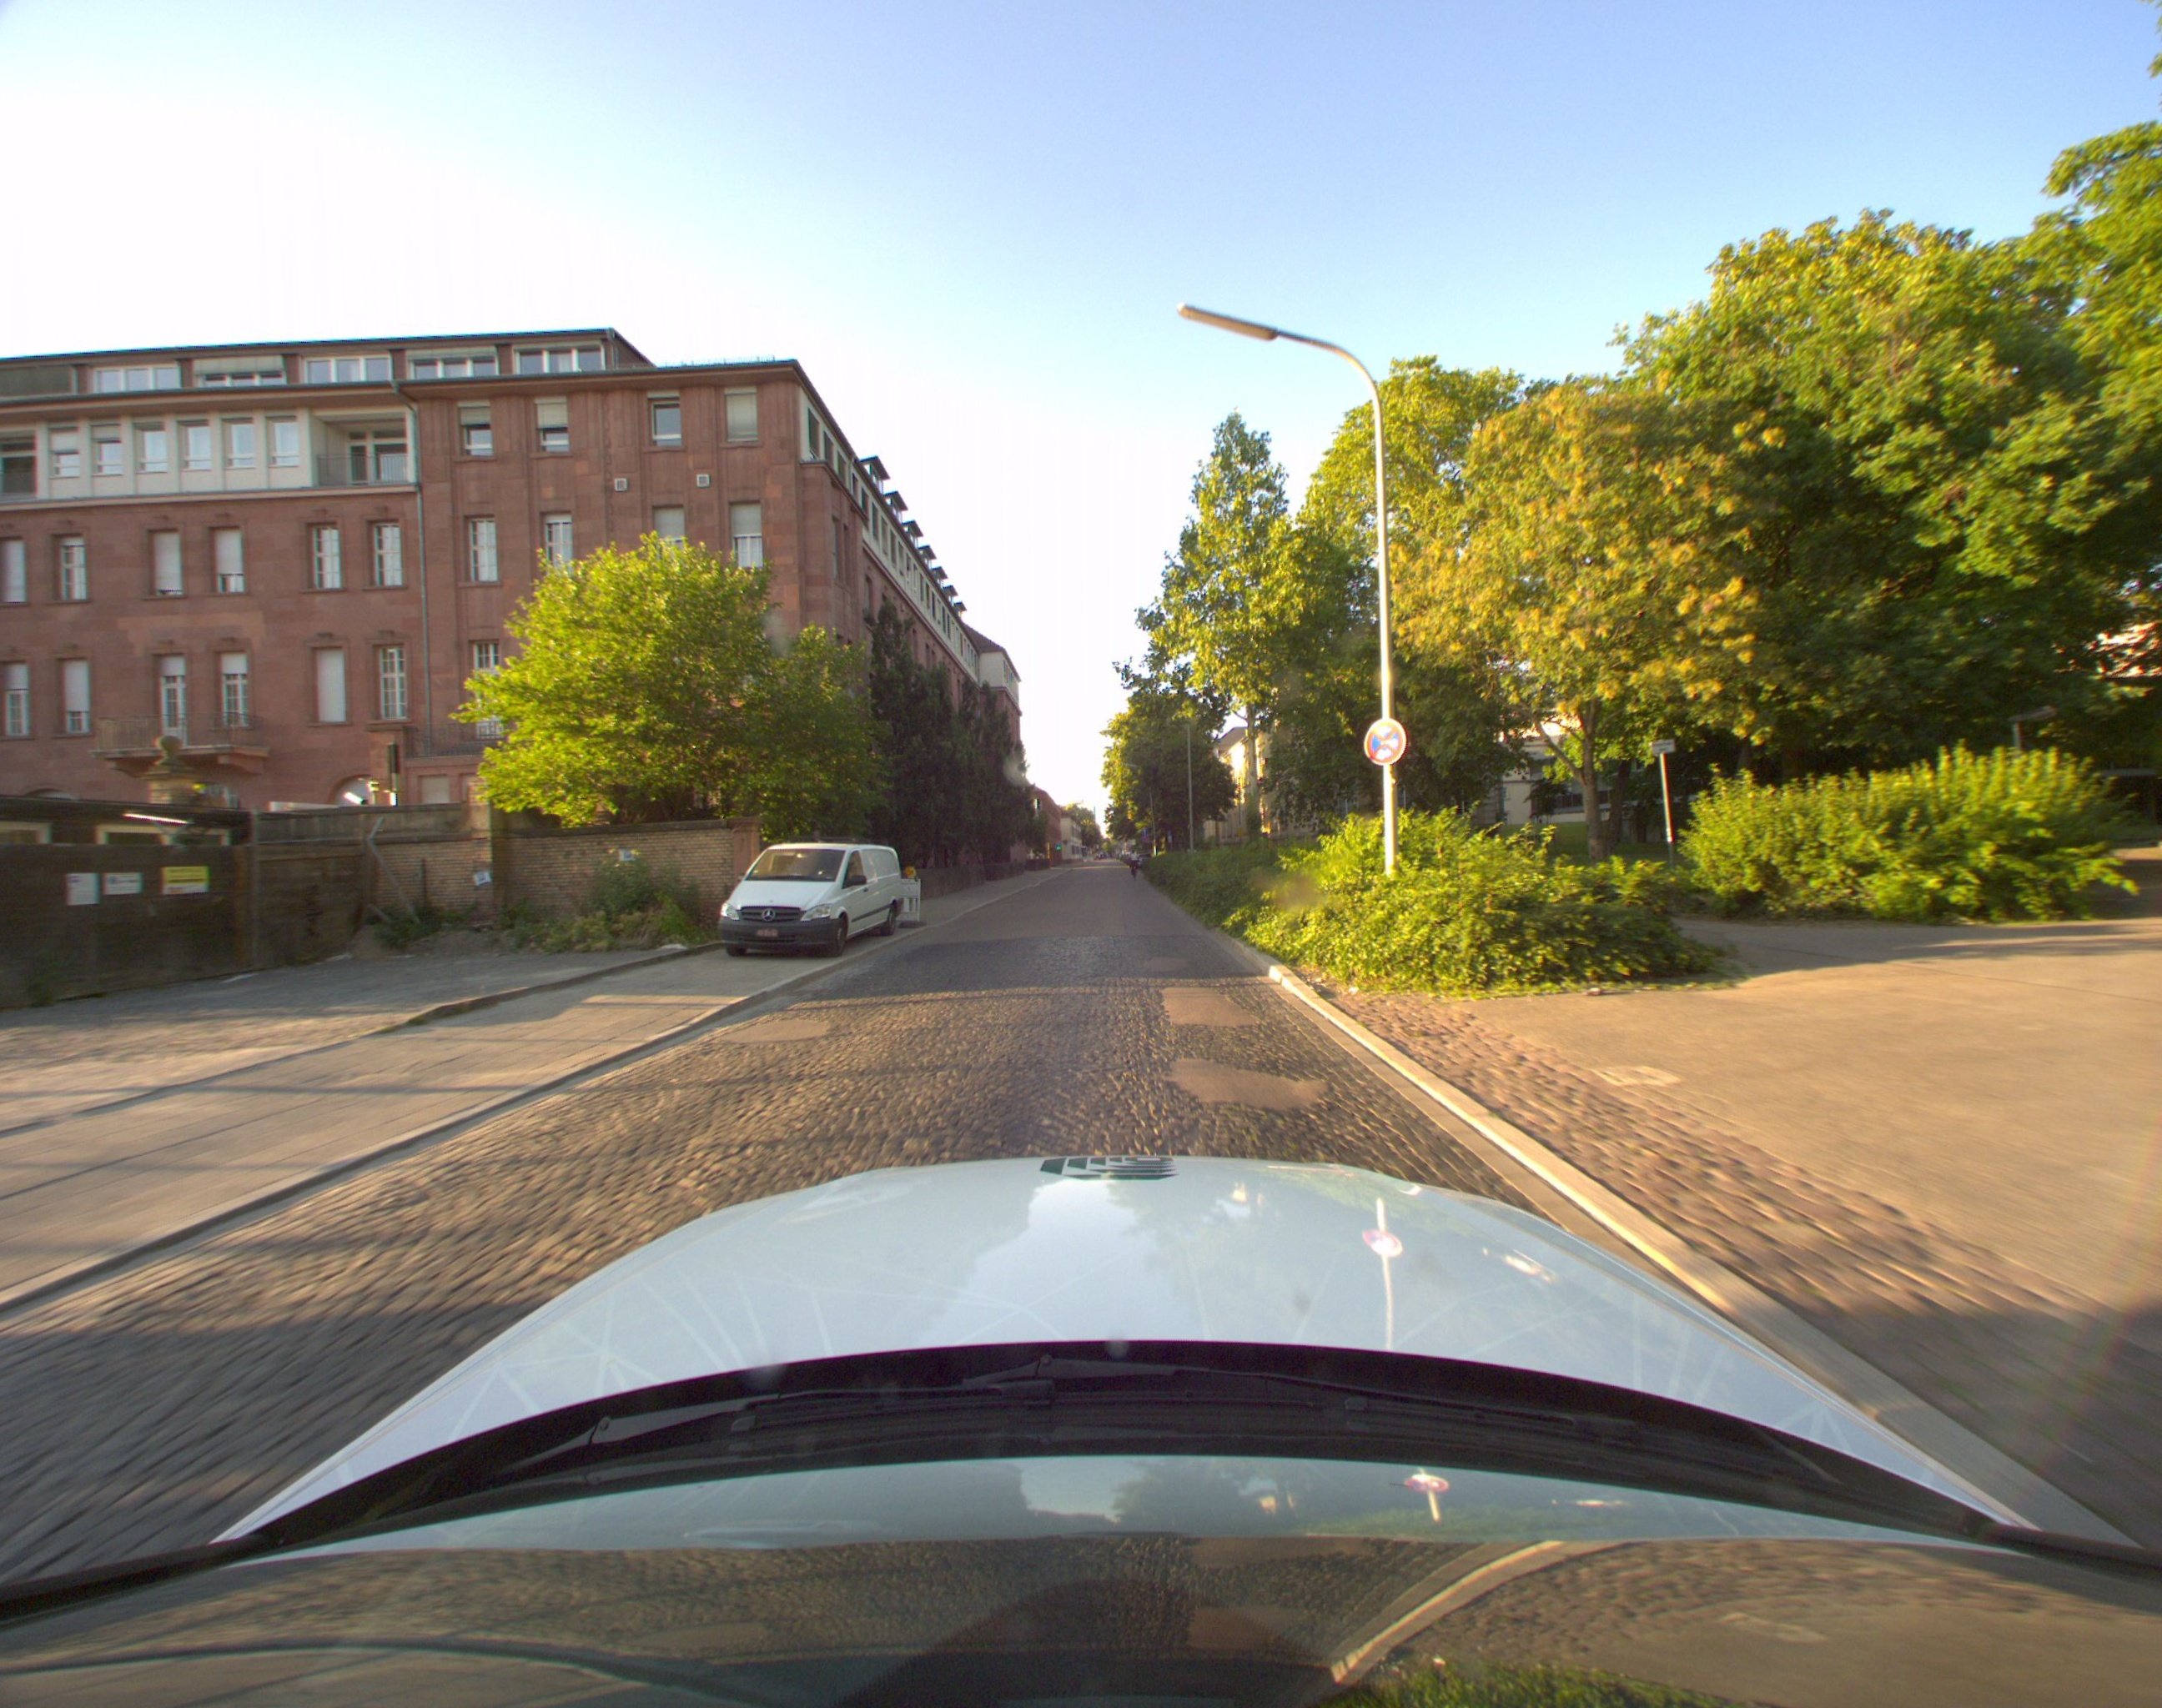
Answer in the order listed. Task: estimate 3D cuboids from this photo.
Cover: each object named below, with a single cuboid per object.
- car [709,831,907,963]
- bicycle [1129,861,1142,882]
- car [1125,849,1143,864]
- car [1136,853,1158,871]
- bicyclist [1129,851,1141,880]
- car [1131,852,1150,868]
[{"bbox_3d":[-4.763,0.704,15.169,1.876,2.014,5.225,-1,-1,0],"label":"car"},{"bbox_3d":[3.179,1.016,47.882,0.636,1.193,1.876,-1,0,0],"label":"bicycle"},{"bbox_3d":[6.746,0.349,103.865,1.986,1.706,4.001,-3,0,1],"label":"car"},{"bbox_3d":[6.002,0.765,74.279,1.680,1.447,3.671,-5,-1,0],"label":"car"},{"bbox_3d":[3.172,0.654,47.826,0.637,1.667,0.842,-1,0,0],"label":"bicyclist"},{"bbox_3d":[6.435,0.622,87.871,1.710,1.538,4.048,-3,0,0],"label":"car"}]
